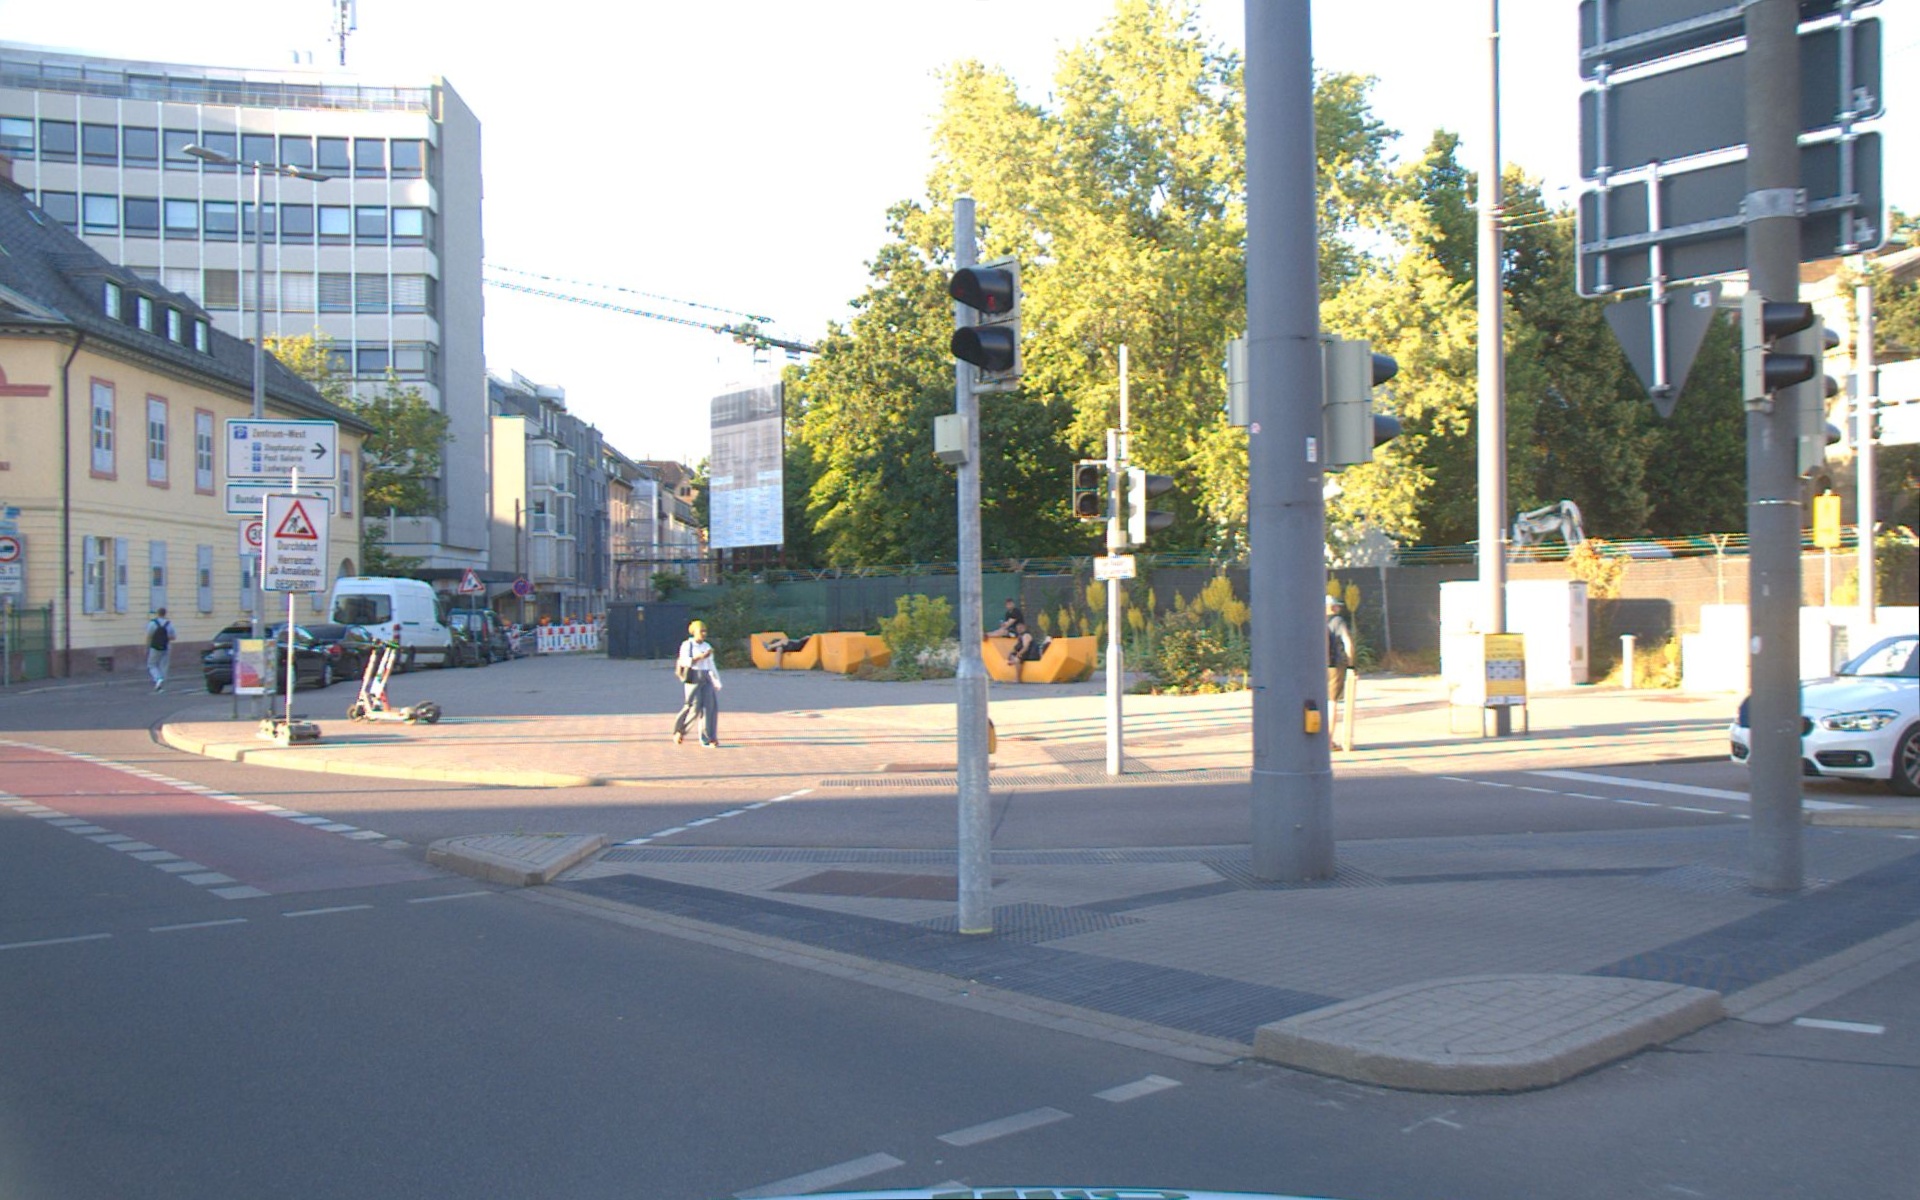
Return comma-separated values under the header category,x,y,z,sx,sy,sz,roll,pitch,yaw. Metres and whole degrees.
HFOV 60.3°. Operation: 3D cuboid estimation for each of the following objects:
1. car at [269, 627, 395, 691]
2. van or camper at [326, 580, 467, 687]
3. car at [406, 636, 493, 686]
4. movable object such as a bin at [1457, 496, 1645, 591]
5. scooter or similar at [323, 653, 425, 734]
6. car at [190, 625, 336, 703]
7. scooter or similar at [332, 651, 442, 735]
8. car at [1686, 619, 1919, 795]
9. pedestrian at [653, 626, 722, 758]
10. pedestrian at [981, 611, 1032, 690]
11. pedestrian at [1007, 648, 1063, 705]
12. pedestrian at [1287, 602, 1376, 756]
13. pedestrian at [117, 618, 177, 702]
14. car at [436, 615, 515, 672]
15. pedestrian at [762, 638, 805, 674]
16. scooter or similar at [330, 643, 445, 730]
category,x,y,z,sx,sy,sz,roll,pitch,yaw
car,-15.552,1.427,41.217,1.695,1.455,4.470,0,-1,-4
van or camper,-15.943,0.945,47.165,2.035,2.823,6.446,-1,-1,-2
car,-16.201,1.913,52.670,1.658,1.485,4.096,0,-1,-3
movable object such as a bin,14.114,-1.295,39.853,1.958,2.049,5.010,-1,-1,-11
scooter or similar,-8.839,1.407,24.956,1.370,1.186,0.461,-1,-1,4
car,-15.210,1.355,36.320,1.744,1.570,4.285,0,-1,-5
scooter or similar,-9.034,1.458,26.100,1.490,1.282,0.612,-1,-1,3
car,9.063,0.887,15.214,4.227,1.430,1.905,-1,-2,-20
pedestrian,-3.485,1.163,21.156,0.681,1.641,0.589,0,-1,-34
pedestrian,1.020,1.108,36.372,0.813,1.694,0.754,0,-1,-36
pedestrian,1.624,1.645,35.695,0.980,1.178,0.725,0,-1,-37
pedestrian,4.370,0.920,19.511,0.921,1.766,0.822,-1,-1,6
pedestrian,-17.261,1.266,35.137,0.858,1.754,0.829,0,-1,0
car,-16.597,1.451,56.834,1.678,1.881,4.019,0,-1,-3
pedestrian,-4.546,1.445,42.515,0.961,0.909,0.560,-1,-1,33
scooter or similar,-8.816,1.324,25.489,1.613,1.315,0.461,0,-1,3
